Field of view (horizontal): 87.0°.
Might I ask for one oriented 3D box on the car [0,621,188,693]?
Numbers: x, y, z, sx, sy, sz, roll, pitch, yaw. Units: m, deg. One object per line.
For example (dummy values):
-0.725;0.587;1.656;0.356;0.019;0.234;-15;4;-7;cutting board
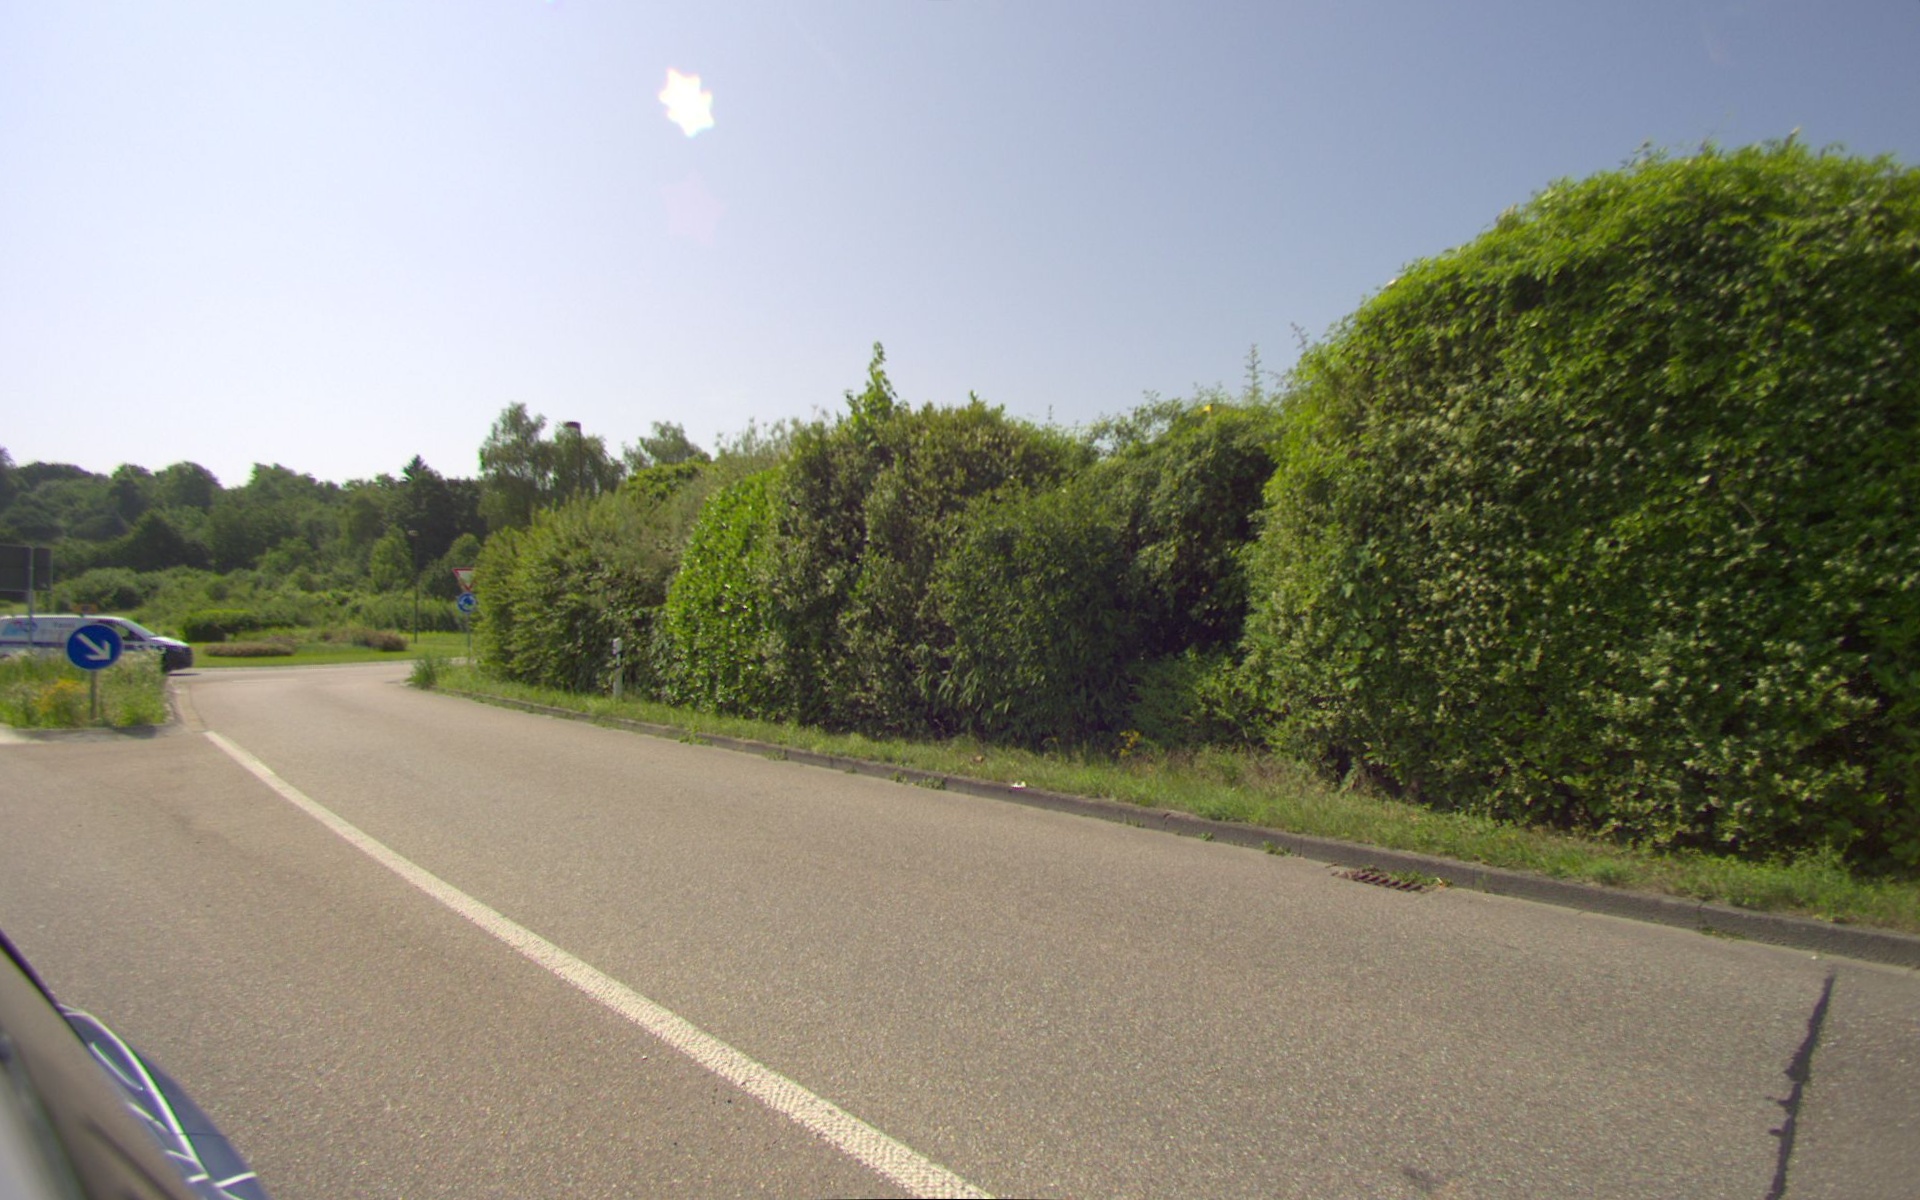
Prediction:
-27.251;1.712;31.294;5.140;1.952;1.866;-2;0;-29;car
